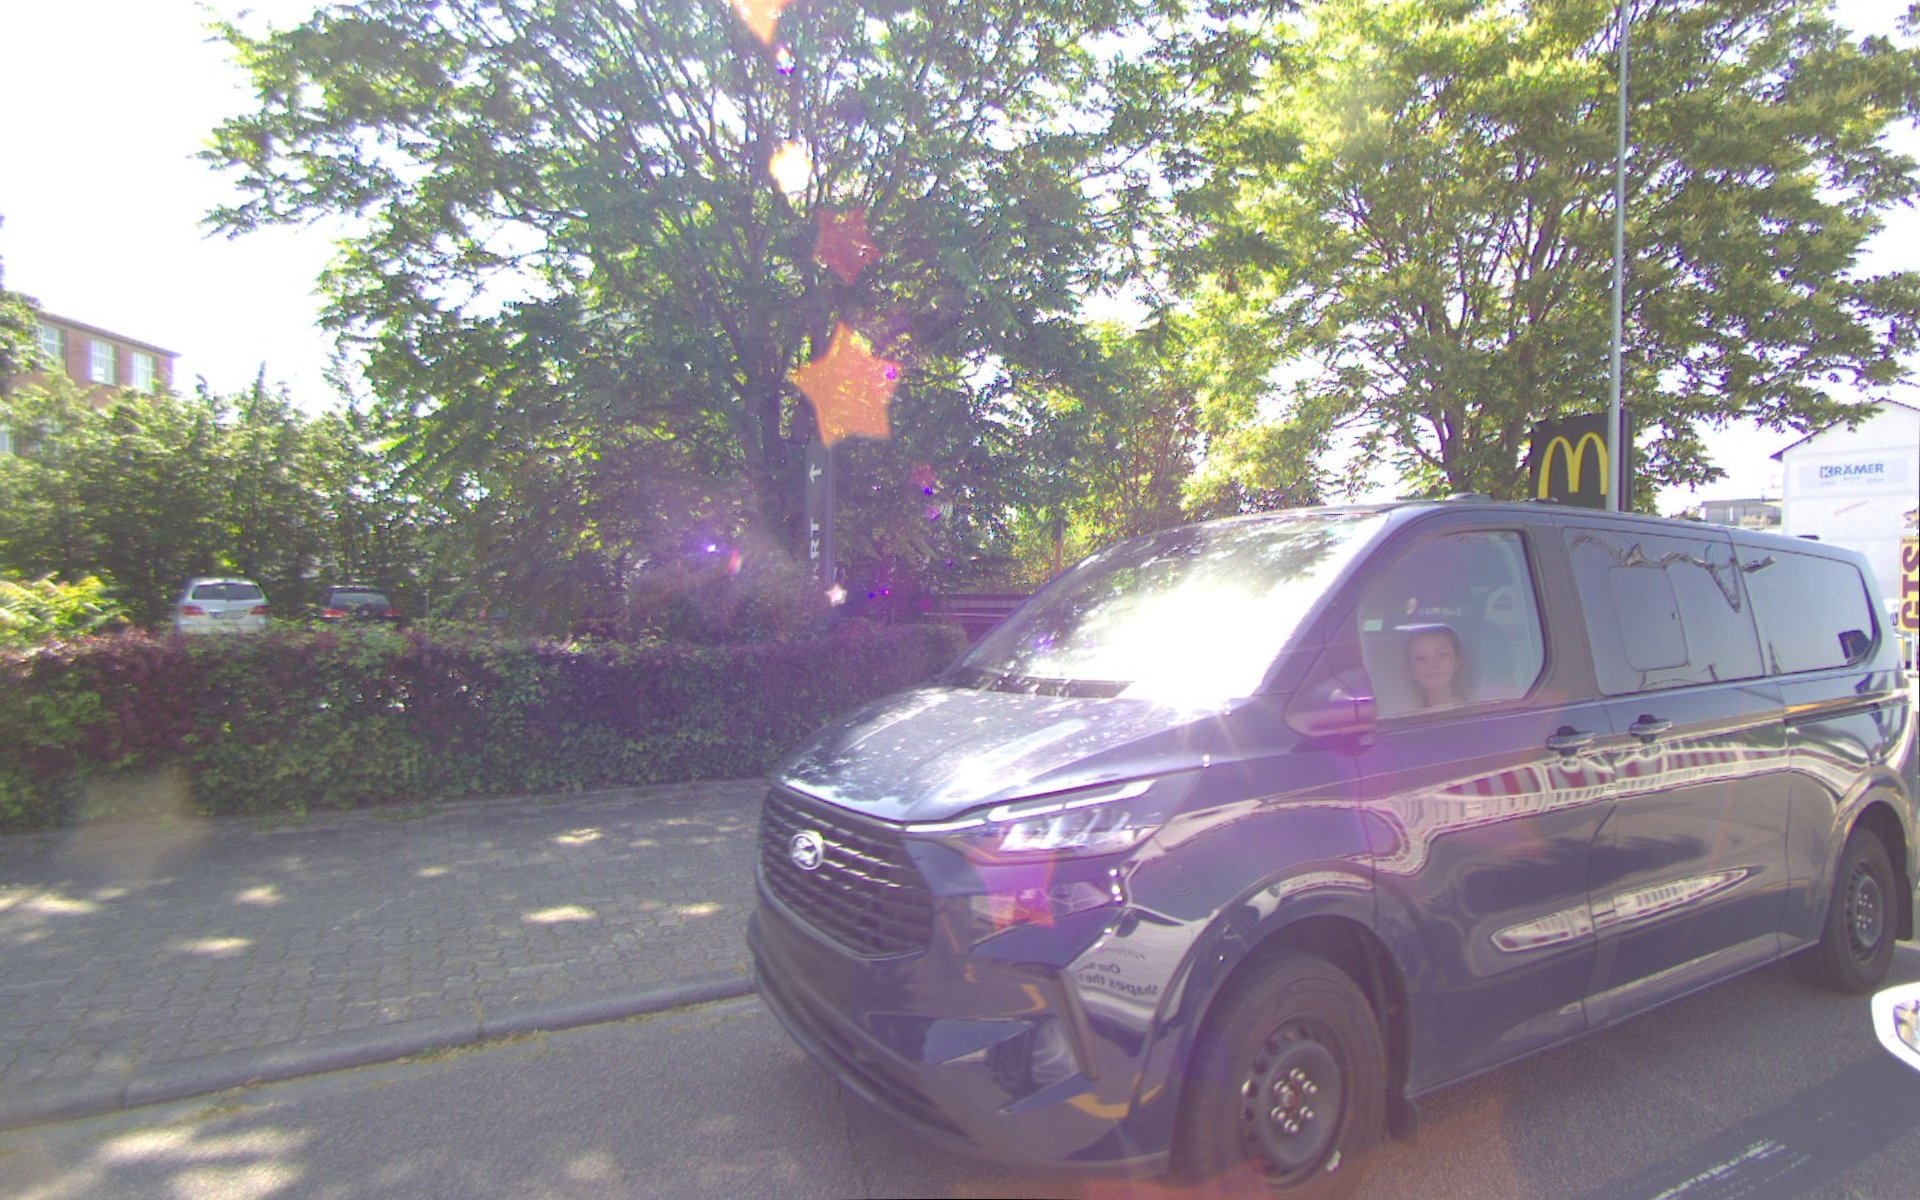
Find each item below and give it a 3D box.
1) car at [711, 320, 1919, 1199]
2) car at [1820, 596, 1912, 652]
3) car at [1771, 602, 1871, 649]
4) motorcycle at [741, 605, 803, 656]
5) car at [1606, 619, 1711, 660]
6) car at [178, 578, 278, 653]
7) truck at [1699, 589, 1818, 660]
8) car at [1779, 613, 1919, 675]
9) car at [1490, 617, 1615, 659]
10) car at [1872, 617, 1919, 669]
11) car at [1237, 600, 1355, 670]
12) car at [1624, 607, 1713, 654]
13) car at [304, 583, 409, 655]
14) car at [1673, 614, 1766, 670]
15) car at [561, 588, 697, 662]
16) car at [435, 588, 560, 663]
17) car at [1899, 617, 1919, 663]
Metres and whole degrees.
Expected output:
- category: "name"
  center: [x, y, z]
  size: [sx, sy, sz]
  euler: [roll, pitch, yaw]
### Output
- category: "car"
  center: [1.911, 0.563, 4.270]
  size: [5.382, 1.993, 2.166]
  euler: [2, -3, -31]
- category: "car"
  center: [39.873, 1.045, 44.186]
  size: [4.666, 2.315, 2.120]
  euler: [1, 0, -37]
- category: "car"
  center: [34.970, 1.037, 40.756]
  size: [4.673, 1.761, 1.865]
  euler: [1, 1, -34]
- category: "motorcycle"
  center: [-4.613, 0.741, 24.610]
  size: [1.579, 1.185, 0.568]
  euler: [1, 1, 35]
- category: "car"
  center: [27.939, 1.593, 40.185]
  size: [3.949, 1.507, 1.781]
  euler: [2, 0, -27]
- category: "car"
  center: [-17.517, 0.298, 23.969]
  size: [1.759, 1.593, 3.955]
  euler: [0, 2, -39]
- category: "truck"
  center: [35.485, 1.066, 44.585]
  size: [5.878, 2.943, 2.256]
  euler: [1, 1, -32]
- category: "car"
  center: [27.733, 1.320, 31.500]
  size: [1.961, 1.748, 3.999]
  euler: [2, 0, 21]
- category: "car"
  center: [25.538, 1.608, 43.445]
  size: [4.248, 1.606, 2.000]
  euler: [2, 0, 18]
- category: "car"
  center: [32.072, 1.431, 33.846]
  size: [1.835, 1.651, 3.980]
  euler: [1, 0, 40]
- category: "car"
  center: [8.983, 0.864, 27.334]
  size: [1.918, 1.604, 5.033]
  euler: [2, 1, 6]
- category: "car"
  center: [33.166, 1.425, 46.995]
  size: [4.450, 2.040, 1.981]
  euler: [2, 0, -35]
- category: "car"
  center: [-14.561, 0.387, 24.162]
  size: [1.758, 1.490, 3.957]
  euler: [0, 2, -37]
- category: "car"
  center: [24.815, 1.334, 32.963]
  size: [2.018, 1.616, 4.413]
  euler: [2, 0, 32]
- category: "car"
  center: [-7.840, 0.522, 23.602]
  size: [1.648, 1.490, 3.855]
  euler: [-1, 3, -42]
- category: "car"
  center: [-10.658, 0.510, 23.024]
  size: [1.690, 1.473, 3.954]
  euler: [0, 2, -39]
- category: "car"
  center: [36.328, 1.483, 37.360]
  size: [1.835, 1.651, 3.980]
  euler: [1, 0, 40]
